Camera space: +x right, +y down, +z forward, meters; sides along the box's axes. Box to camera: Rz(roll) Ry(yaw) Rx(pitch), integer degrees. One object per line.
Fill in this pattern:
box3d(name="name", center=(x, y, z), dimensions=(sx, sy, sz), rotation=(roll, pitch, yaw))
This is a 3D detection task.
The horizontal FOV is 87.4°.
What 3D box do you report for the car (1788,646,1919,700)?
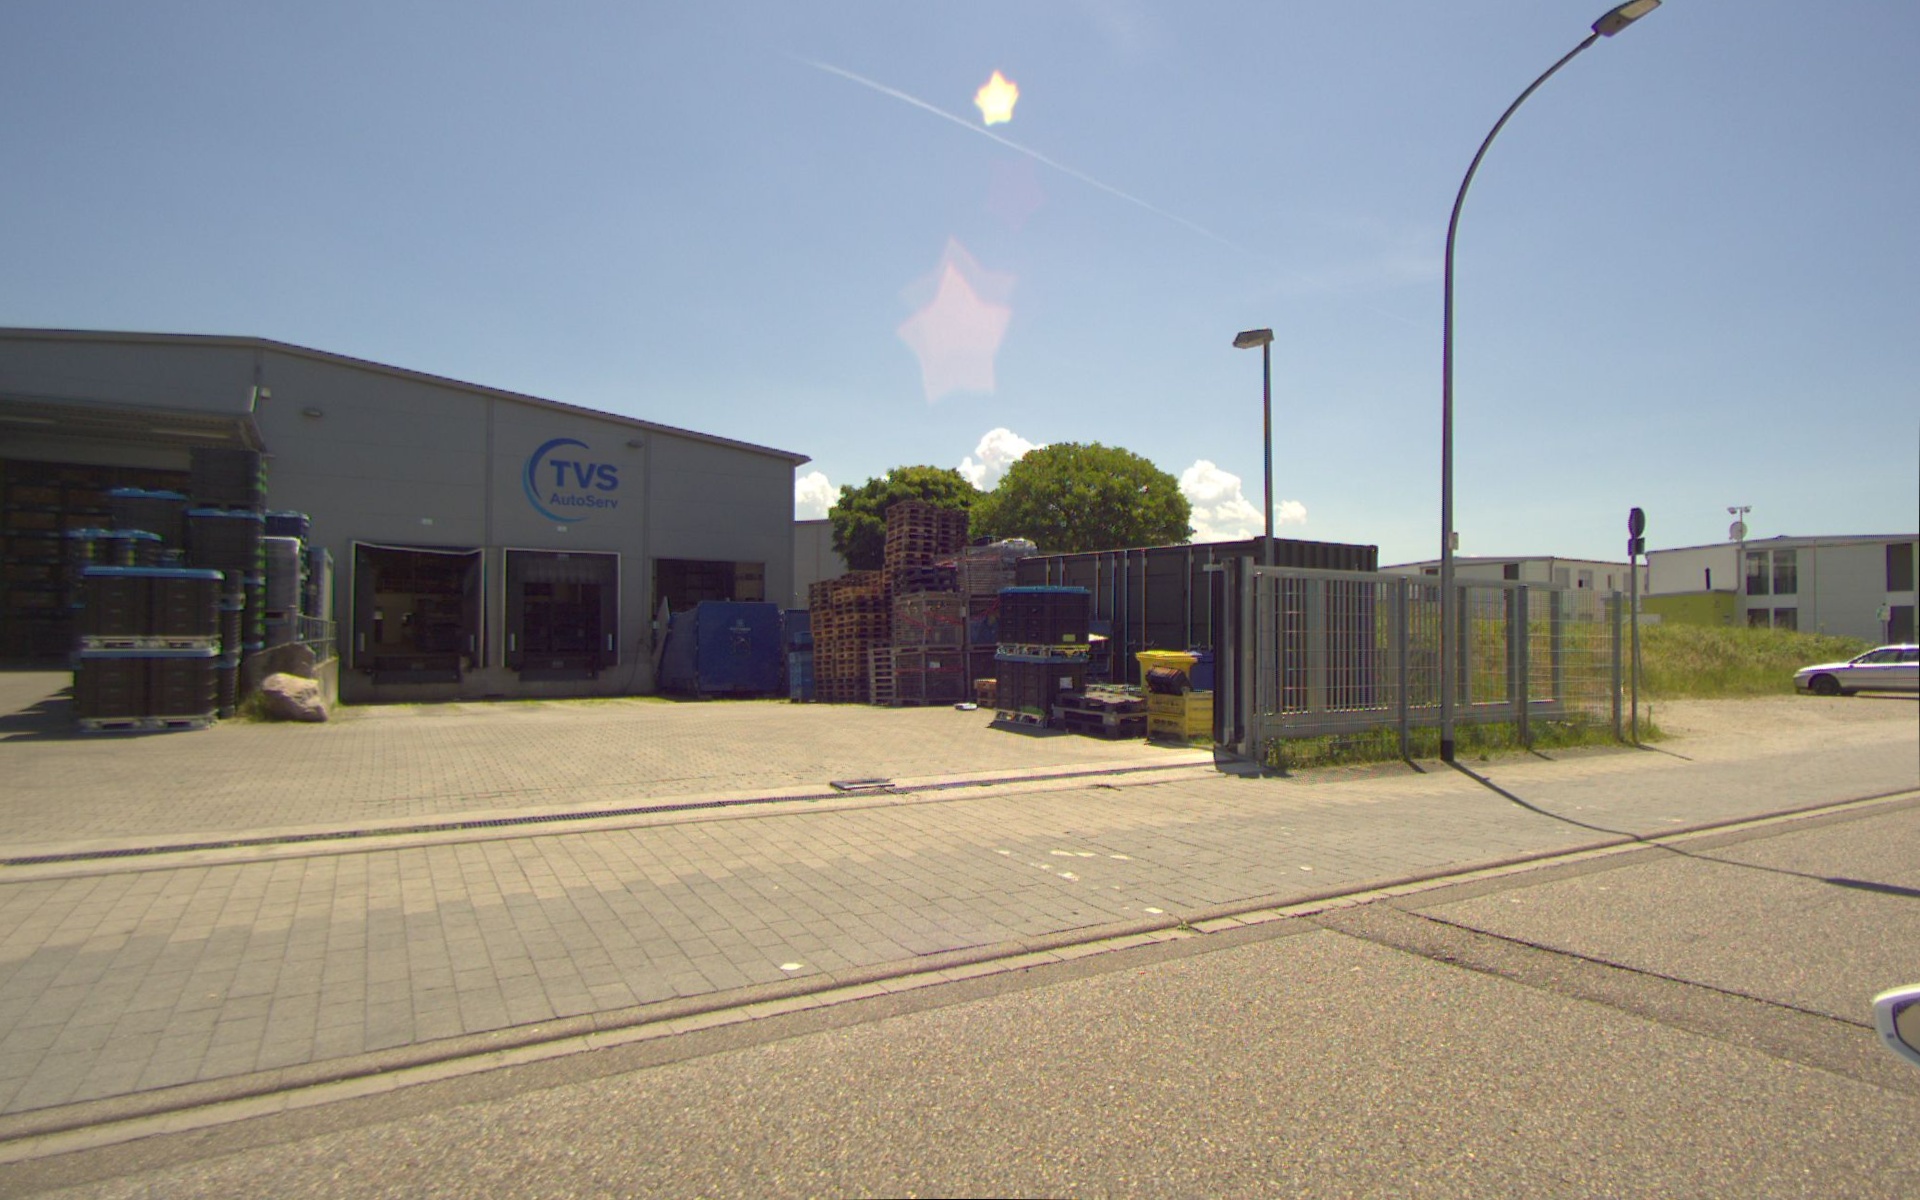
box3d(name="car", center=(25.034, 1.915, 26.716), dimensions=(1.875, 1.382, 4.259), rotation=(1, -3, -29))
